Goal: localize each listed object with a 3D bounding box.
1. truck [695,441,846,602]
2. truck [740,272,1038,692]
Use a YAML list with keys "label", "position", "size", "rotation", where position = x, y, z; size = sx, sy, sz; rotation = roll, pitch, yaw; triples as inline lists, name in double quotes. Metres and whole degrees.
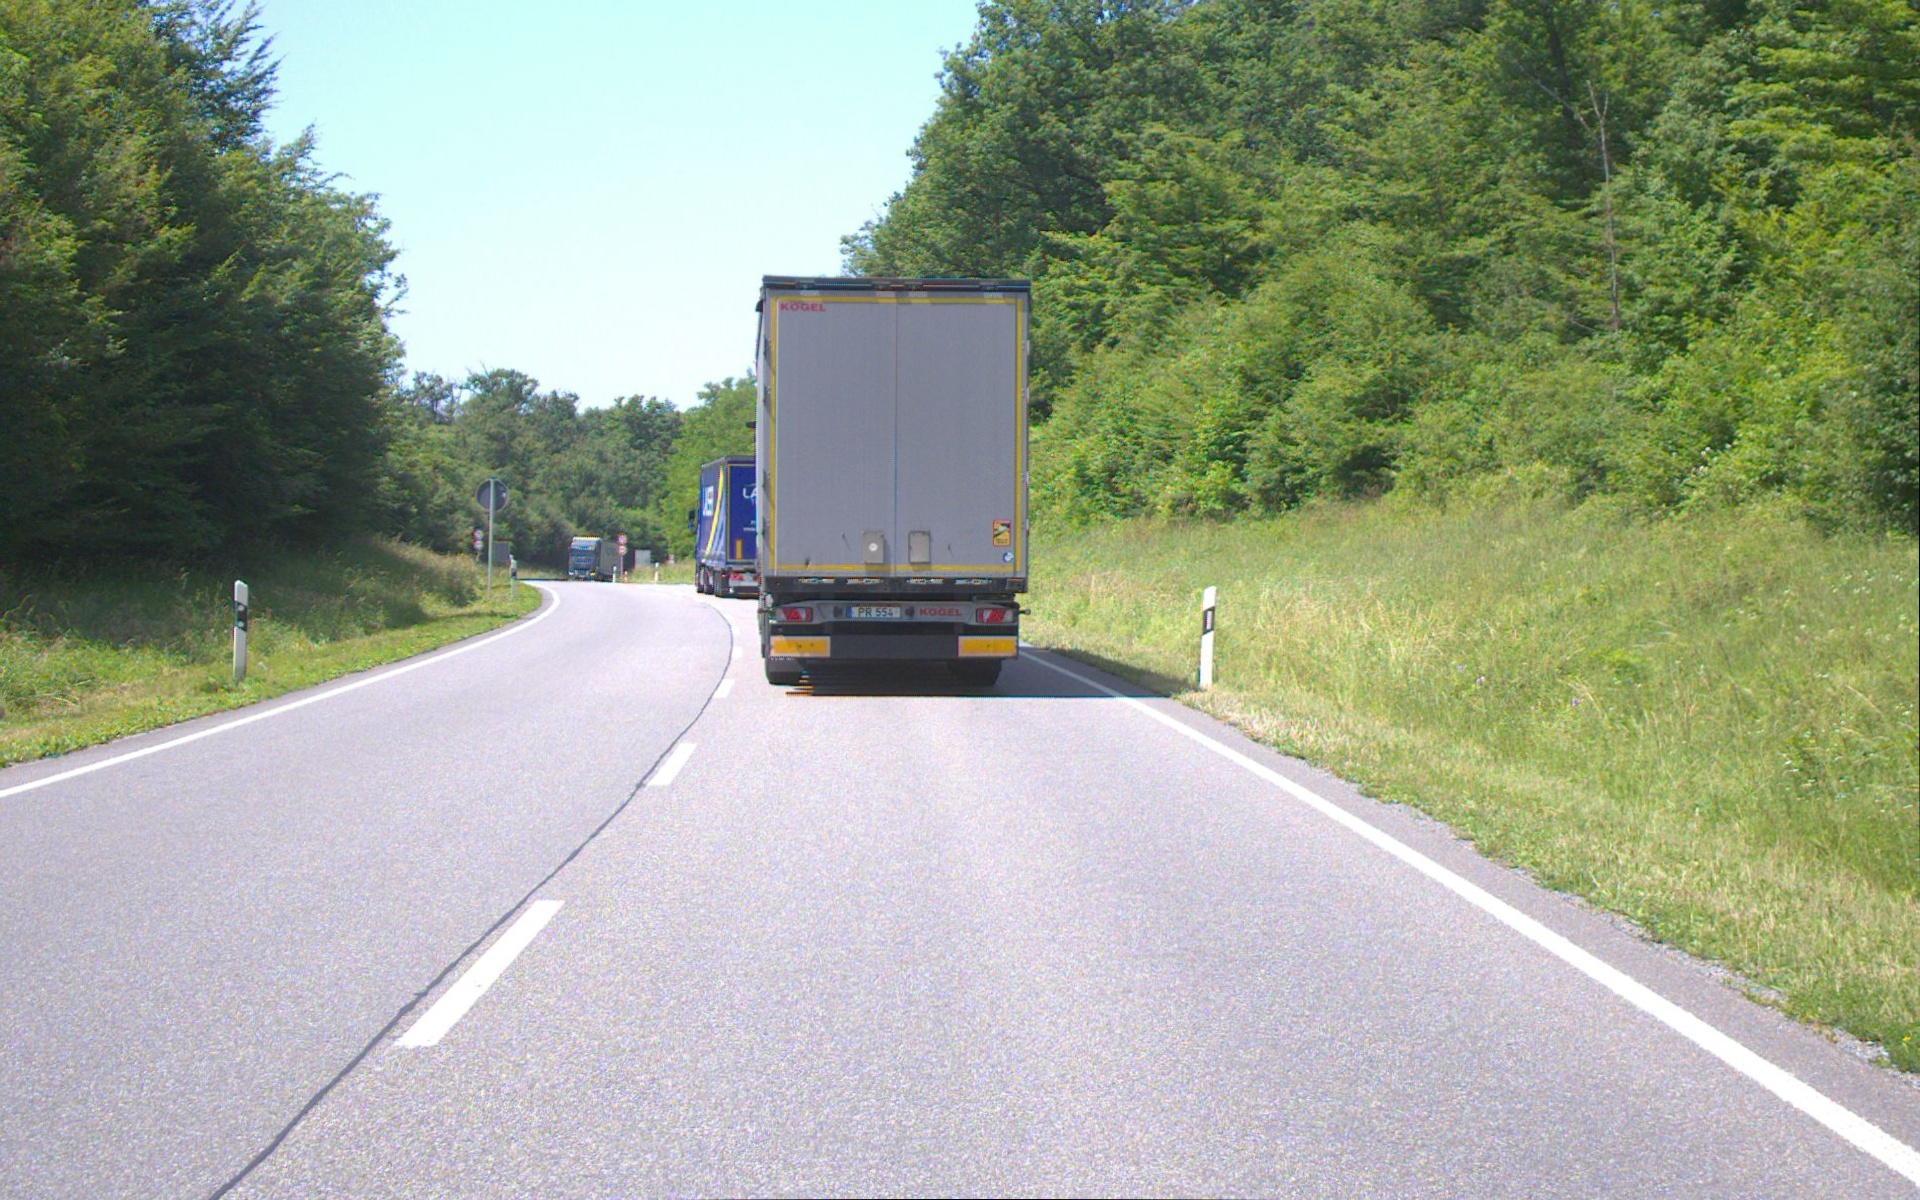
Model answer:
- label: "truck"
  position: [-5.820, -2.329, 102.696]
  size: [3.792, 4.358, 14.923]
  rotation: [2, 1, -5]
- label: "truck"
  position: [-0.956, -1.212, 38.587]
  size: [2.761, 3.933, 12.199]
  rotation: [1, 1, -3]
